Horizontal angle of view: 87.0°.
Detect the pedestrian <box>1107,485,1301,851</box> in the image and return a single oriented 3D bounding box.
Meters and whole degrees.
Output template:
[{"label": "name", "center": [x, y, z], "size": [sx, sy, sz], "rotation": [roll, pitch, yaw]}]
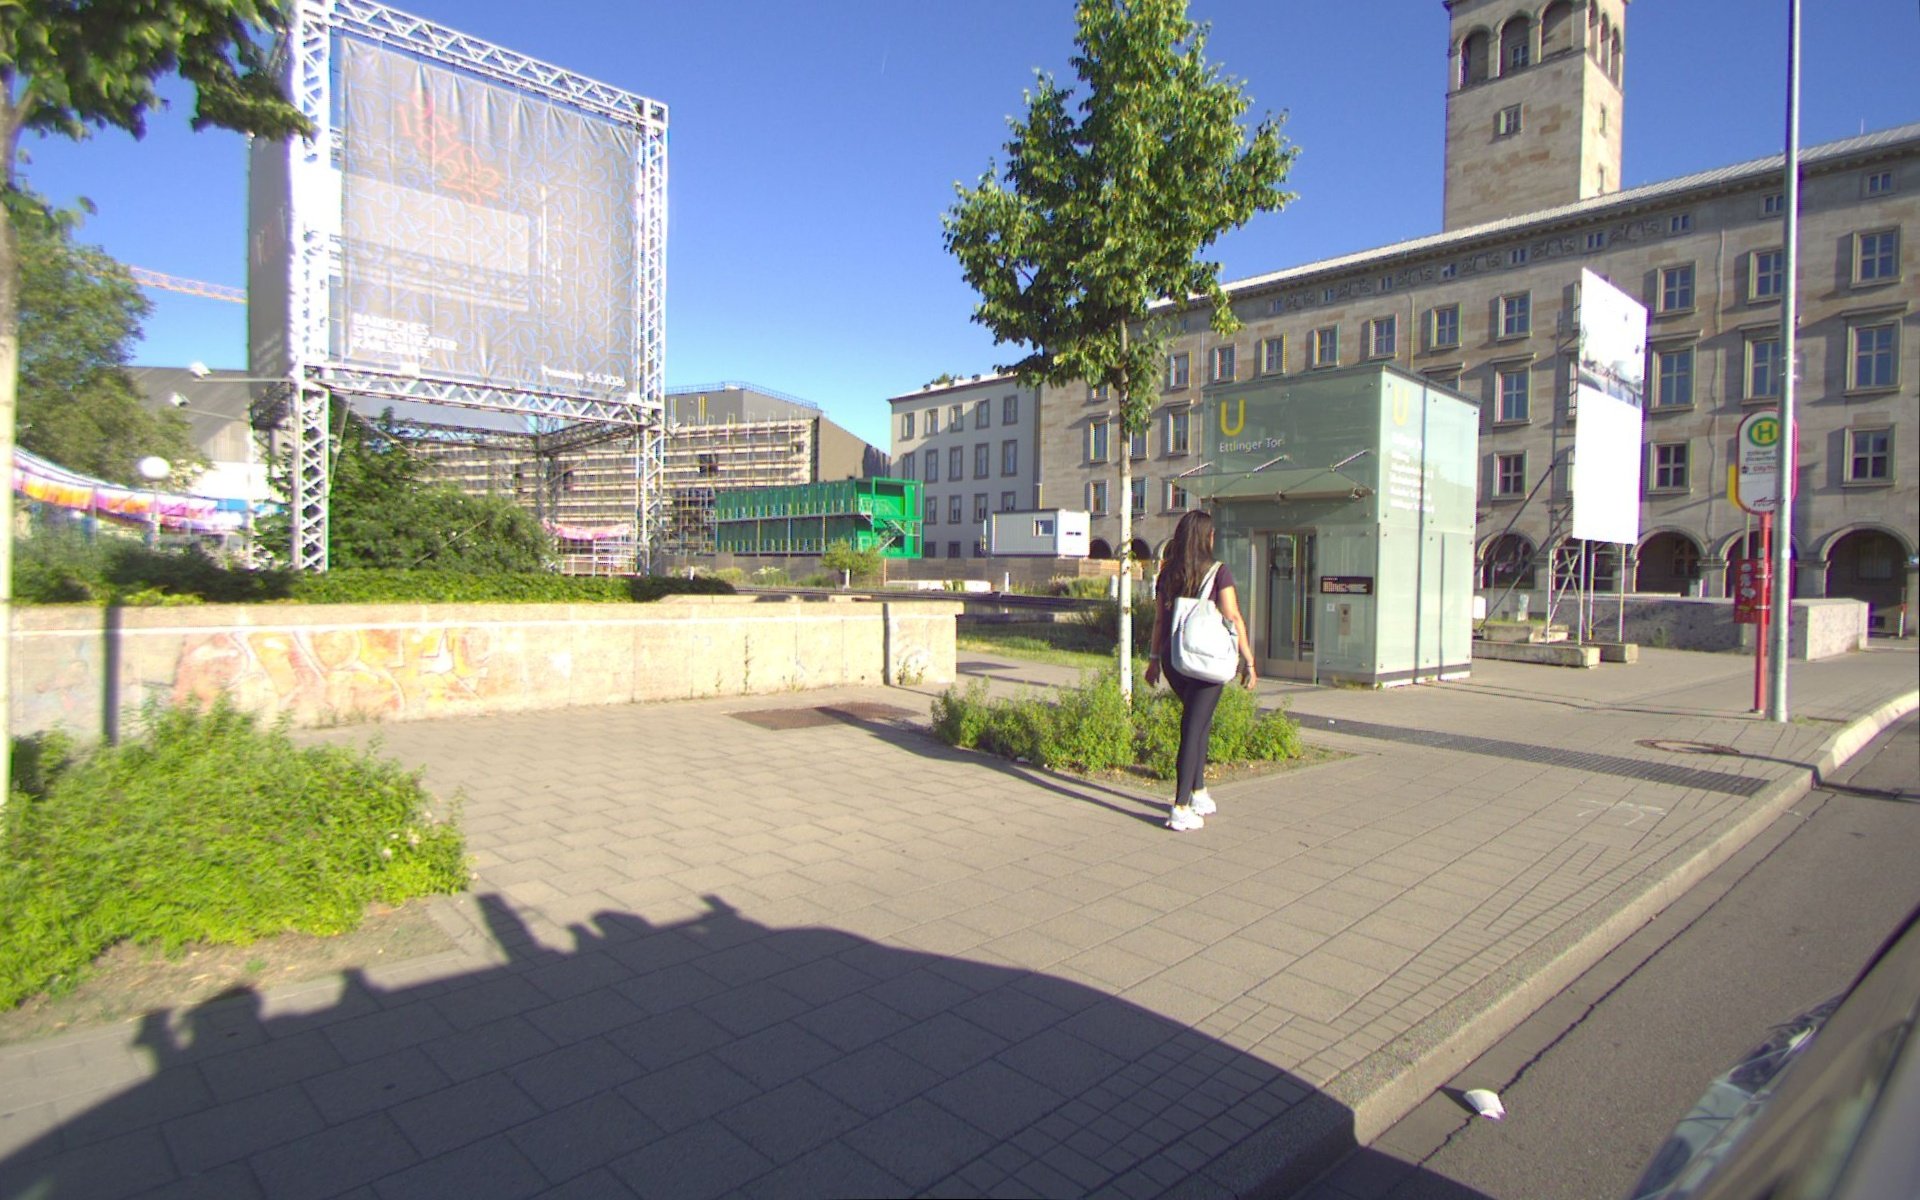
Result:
[{"label": "pedestrian", "center": [1.374, 0.317, 5.649], "size": [0.930, 1.809, 1.067], "rotation": [1, 1, 17]}]
